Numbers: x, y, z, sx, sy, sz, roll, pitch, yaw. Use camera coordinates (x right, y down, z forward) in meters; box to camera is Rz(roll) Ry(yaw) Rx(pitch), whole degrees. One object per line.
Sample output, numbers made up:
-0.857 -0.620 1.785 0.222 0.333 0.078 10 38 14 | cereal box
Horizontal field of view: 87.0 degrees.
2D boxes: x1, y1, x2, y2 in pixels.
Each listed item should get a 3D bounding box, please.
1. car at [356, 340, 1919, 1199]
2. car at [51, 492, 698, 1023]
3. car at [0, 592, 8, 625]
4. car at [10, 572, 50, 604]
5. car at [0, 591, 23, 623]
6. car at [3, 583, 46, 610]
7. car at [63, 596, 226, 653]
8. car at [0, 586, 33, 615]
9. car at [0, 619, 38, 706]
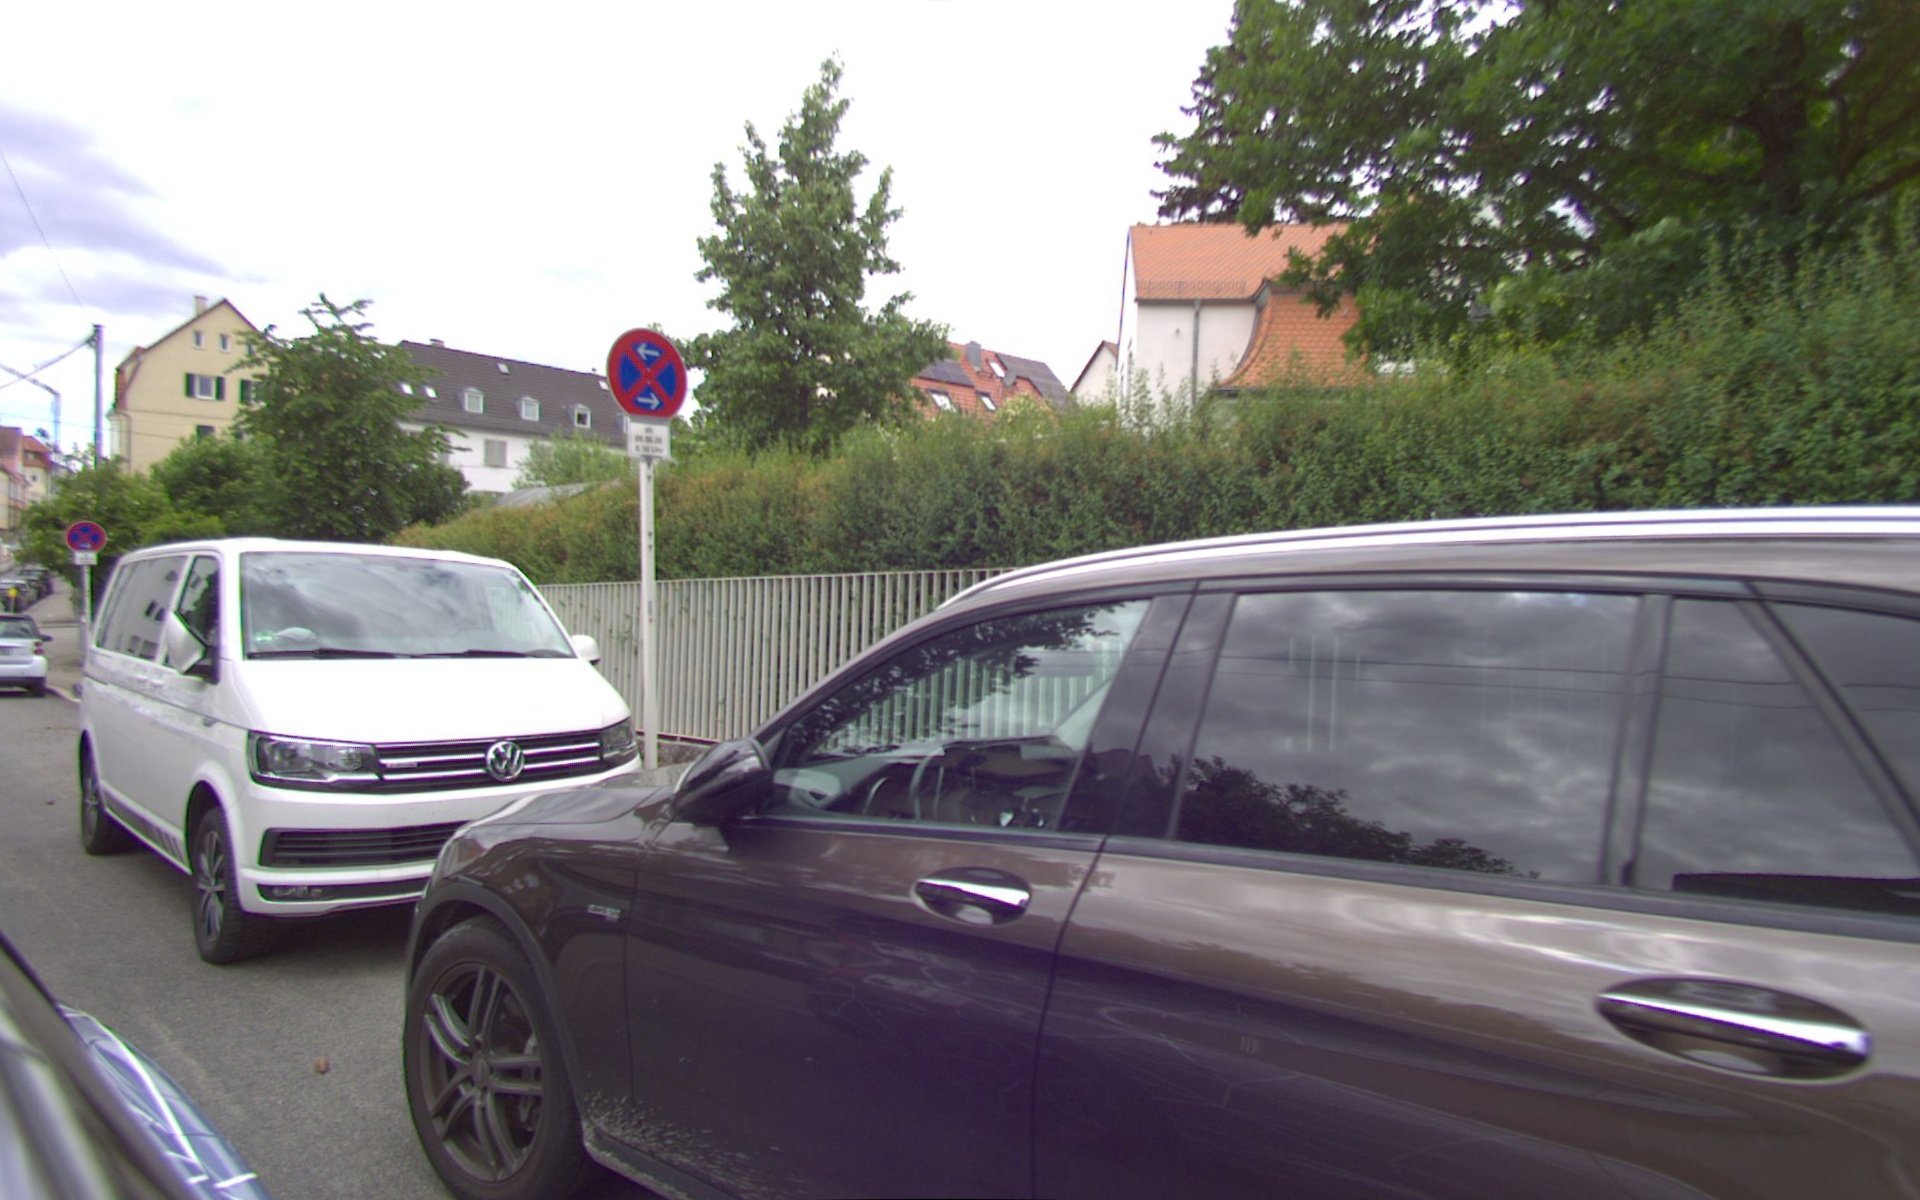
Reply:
0.549 0.634 2.188 4.338 1.636 1.773 -1 -2 39 | car
-3.675 0.620 5.915 4.617 1.928 1.835 -1 -3 41 | car
-46.590 0.397 48.106 1.586 1.464 3.621 4 0 -38 | car
-61.215 -0.786 66.677 1.727 1.810 4.157 2 2 -40 | car
-52.008 0.332 54.605 1.779 1.491 4.338 1 2 -38 | car
-57.820 -0.229 62.592 1.617 1.409 3.711 1 2 -38 | car
-28.238 0.798 35.251 1.811 1.667 4.509 0 2 4 | car
-55.490 -0.006 59.109 1.617 1.439 4.132 3 2 -38 | car
-18.456 1.132 19.118 1.425 1.564 2.773 4 -4 -42 | car
